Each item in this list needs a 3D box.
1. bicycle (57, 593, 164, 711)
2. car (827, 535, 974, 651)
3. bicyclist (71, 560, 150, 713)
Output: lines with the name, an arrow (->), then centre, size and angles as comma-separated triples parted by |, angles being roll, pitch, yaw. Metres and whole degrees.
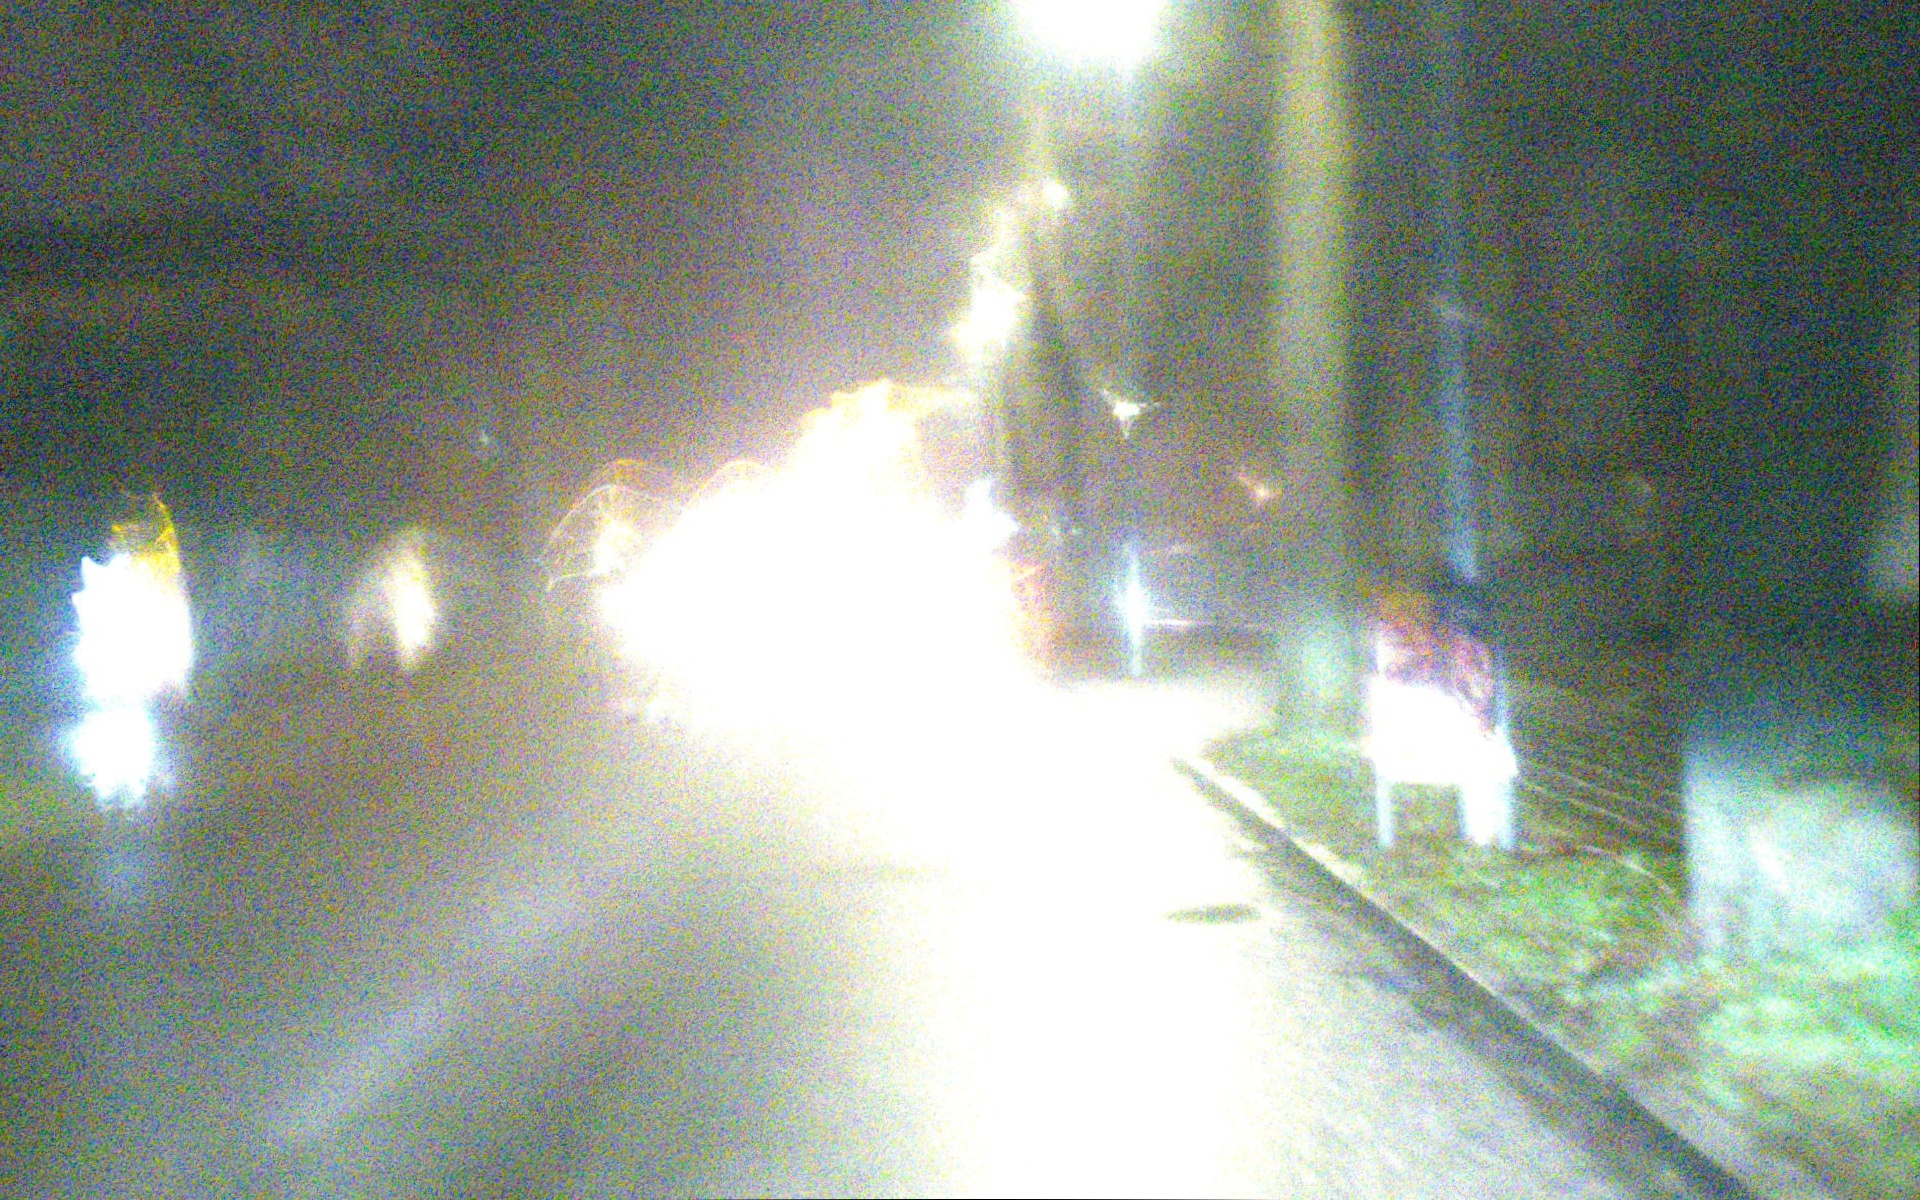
bicycle -> -9.137, 0.545, 37.047 | 0.630, 1.157, 2.314 | 0, 2, -2
car -> -0.935, -0.130, 51.913 | 1.993, 1.678, 4.001 | 0, 1, -4
bicyclist -> -9.150, 0.383, 37.057 | 0.636, 1.589, 0.960 | 1, 3, -2
